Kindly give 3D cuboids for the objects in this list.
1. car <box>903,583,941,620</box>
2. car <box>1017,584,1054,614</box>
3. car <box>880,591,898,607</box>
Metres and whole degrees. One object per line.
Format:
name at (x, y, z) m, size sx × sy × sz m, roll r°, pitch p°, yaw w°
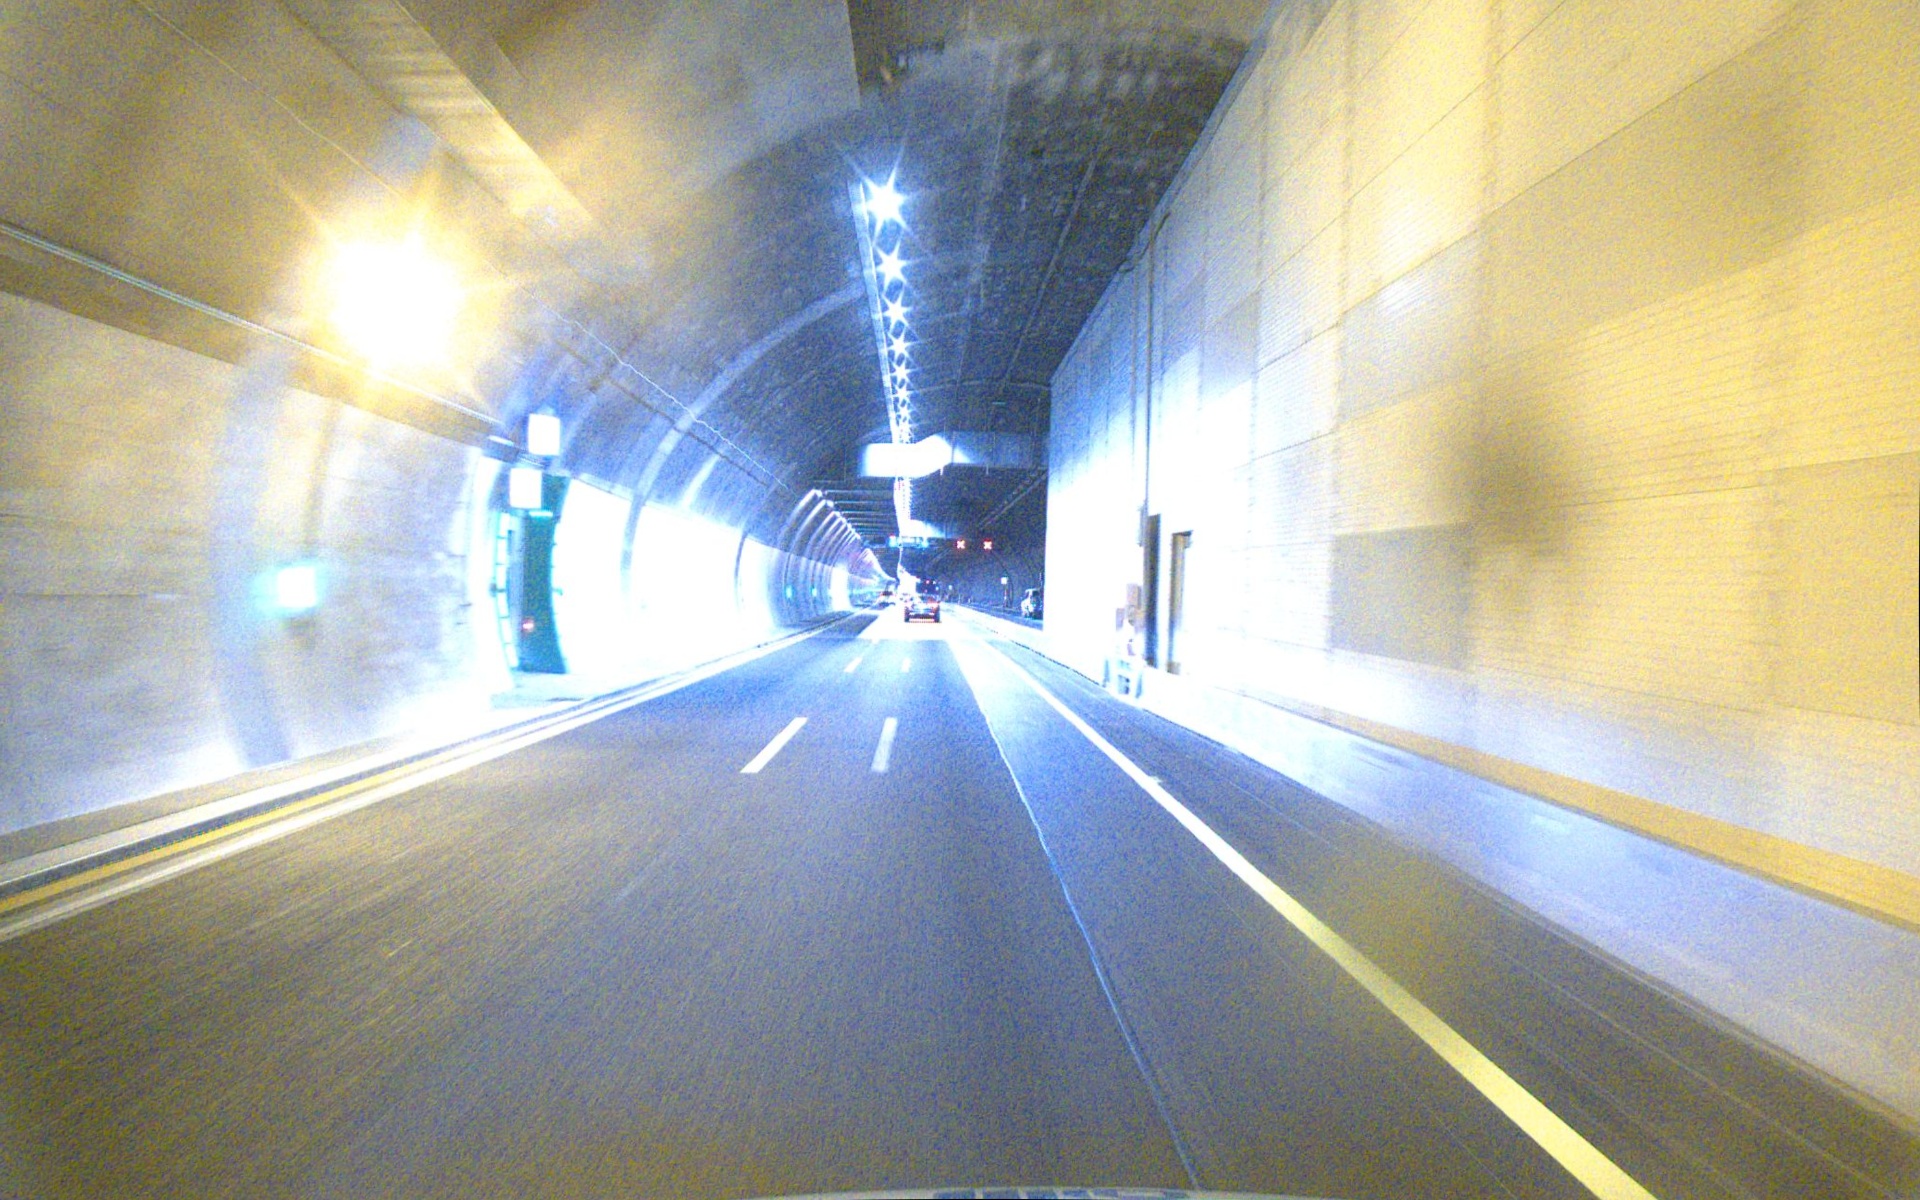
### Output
car at (-1.969, 0.062, 85.734) m, size 1.907 × 1.826 × 3.999 m, roll 0°, pitch 0°, yaw -2°
car at (4.917, -0.058, 107.953) m, size 1.717 × 1.877 × 4.639 m, roll -1°, pitch 0°, yaw -6°
car at (-7.600, -0.082, 177.079) m, size 1.891 × 1.716 × 3.999 m, roll 0°, pitch 0°, yaw -1°
